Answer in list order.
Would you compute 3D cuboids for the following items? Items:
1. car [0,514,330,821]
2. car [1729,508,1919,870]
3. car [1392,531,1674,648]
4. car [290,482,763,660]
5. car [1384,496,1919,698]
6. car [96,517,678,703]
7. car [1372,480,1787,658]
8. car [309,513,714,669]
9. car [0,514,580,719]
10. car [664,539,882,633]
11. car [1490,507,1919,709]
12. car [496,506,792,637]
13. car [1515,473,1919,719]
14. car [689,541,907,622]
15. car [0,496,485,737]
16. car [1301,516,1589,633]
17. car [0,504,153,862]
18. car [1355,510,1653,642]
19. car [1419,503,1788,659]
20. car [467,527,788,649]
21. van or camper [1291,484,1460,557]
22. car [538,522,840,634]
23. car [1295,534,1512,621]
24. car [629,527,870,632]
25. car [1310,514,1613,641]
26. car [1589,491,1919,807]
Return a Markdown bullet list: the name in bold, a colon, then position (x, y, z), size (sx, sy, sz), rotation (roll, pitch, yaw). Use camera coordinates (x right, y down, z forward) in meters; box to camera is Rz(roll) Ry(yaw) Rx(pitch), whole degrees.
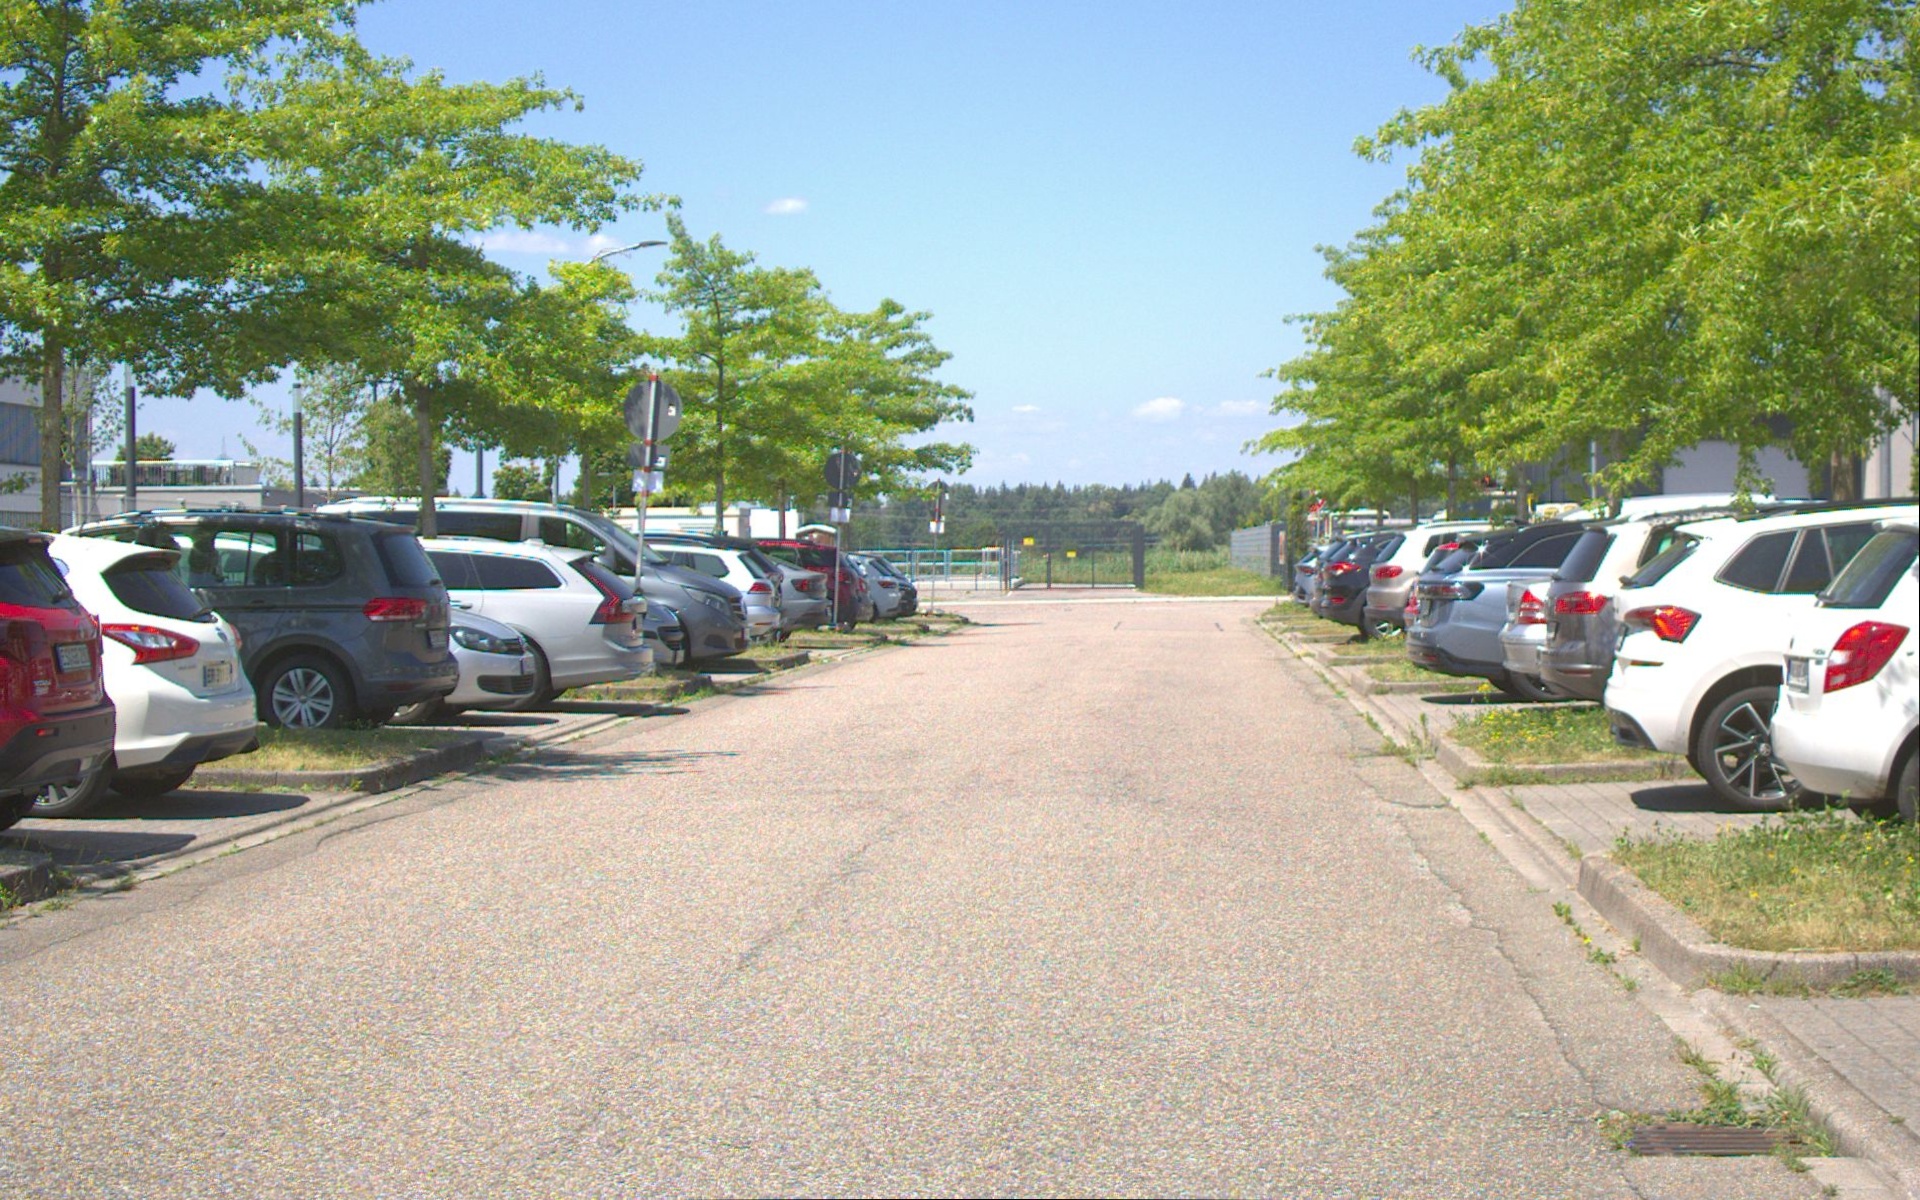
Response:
- **car**: position (-5.774, 0.287, 18.913), size (4.173, 1.508, 1.807), rotation (2, 2, 5)
- **car**: position (5.507, 0.336, 15.269), size (3.835, 1.519, 1.779), rotation (-1, 1, 4)
- **car**: position (7.505, -0.149, 45.262), size (3.458, 1.412, 1.754), rotation (-2, 1, 3)
- **car**: position (-4.941, -0.347, 39.630), size (5.071, 1.885, 1.997), rotation (1, 1, 5)
- **car**: position (6.162, -0.046, 29.681), size (4.716, 1.555, 1.914), rotation (-2, 1, 0)
- **car**: position (-4.916, 0.062, 29.954), size (4.713, 1.442, 1.857), rotation (2, 1, 1)
- **car**: position (6.925, -0.344, 38.792), size (4.404, 1.823, 1.795), rotation (-2, 0, 5)
- **car**: position (-4.744, -0.114, 36.674), size (3.969, 1.479, 1.763), rotation (2, 1, 4)
- **car**: position (-5.330, 0.109, 27.547), size (4.311, 1.468, 1.727), rotation (2, 1, 2)
- **car**: position (-3.213, -0.253, 59.563), size (3.656, 1.503, 1.731), rotation (1, 1, 0)
- **car**: position (6.298, 0.034, 27.040), size (4.047, 1.448, 1.645), rotation (-2, 1, 4)
- **car**: position (-4.415, -0.407, 48.411), size (3.987, 1.673, 1.777), rotation (2, 1, -1)
- **car**: position (6.100, -0.058, 24.531), size (4.047, 1.619, 1.693), rotation (-2, 1, 4)
- **car**: position (-3.108, -0.364, 66.483), size (4.075, 1.419, 1.874), rotation (2, 1, 0)
- **car**: position (-5.728, 0.082, 25.359), size (4.118, 1.629, 1.727), rotation (2, 1, 3)
- **car**: position (7.923, -0.422, 56.498), size (4.449, 1.762, 1.993), rotation (-2, 1, 2)
- **car**: position (-5.960, 0.301, 16.228), size (3.839, 1.586, 1.727), rotation (2, 1, 2)
- **car**: position (7.469, -0.332, 47.492), size (3.876, 1.672, 1.782), rotation (-2, 1, 4)
- **car**: position (6.747, -0.204, 36.306), size (3.632, 1.498, 1.676), rotation (-2, 0, 5)
- **car**: position (-4.366, -0.165, 45.568), size (4.037, 1.456, 1.604), rotation (2, 1, 1)
- **van or camper**: position (12.525, -2.406, 103.962), size (4.937, 2.156, 2.000), rotation (0, 2, 3)
- **car**: position (-3.965, -0.331, 50.700), size (4.194, 1.475, 1.712), rotation (2, 1, 4)
- **car**: position (9.101, -0.470, 70.852), size (4.280, 1.638, 1.850), rotation (-2, 0, 4)
- **car**: position (-3.463, -0.351, 56.958), size (3.738, 1.616, 1.816), rotation (2, 1, 4)
- **car**: position (7.281, -0.332, 50.219), size (4.174, 1.690, 1.782), rotation (-2, 1, 3)
- **car**: position (5.224, 0.208, 17.733), size (3.836, 1.548, 1.779), rotation (-1, 2, 9)
